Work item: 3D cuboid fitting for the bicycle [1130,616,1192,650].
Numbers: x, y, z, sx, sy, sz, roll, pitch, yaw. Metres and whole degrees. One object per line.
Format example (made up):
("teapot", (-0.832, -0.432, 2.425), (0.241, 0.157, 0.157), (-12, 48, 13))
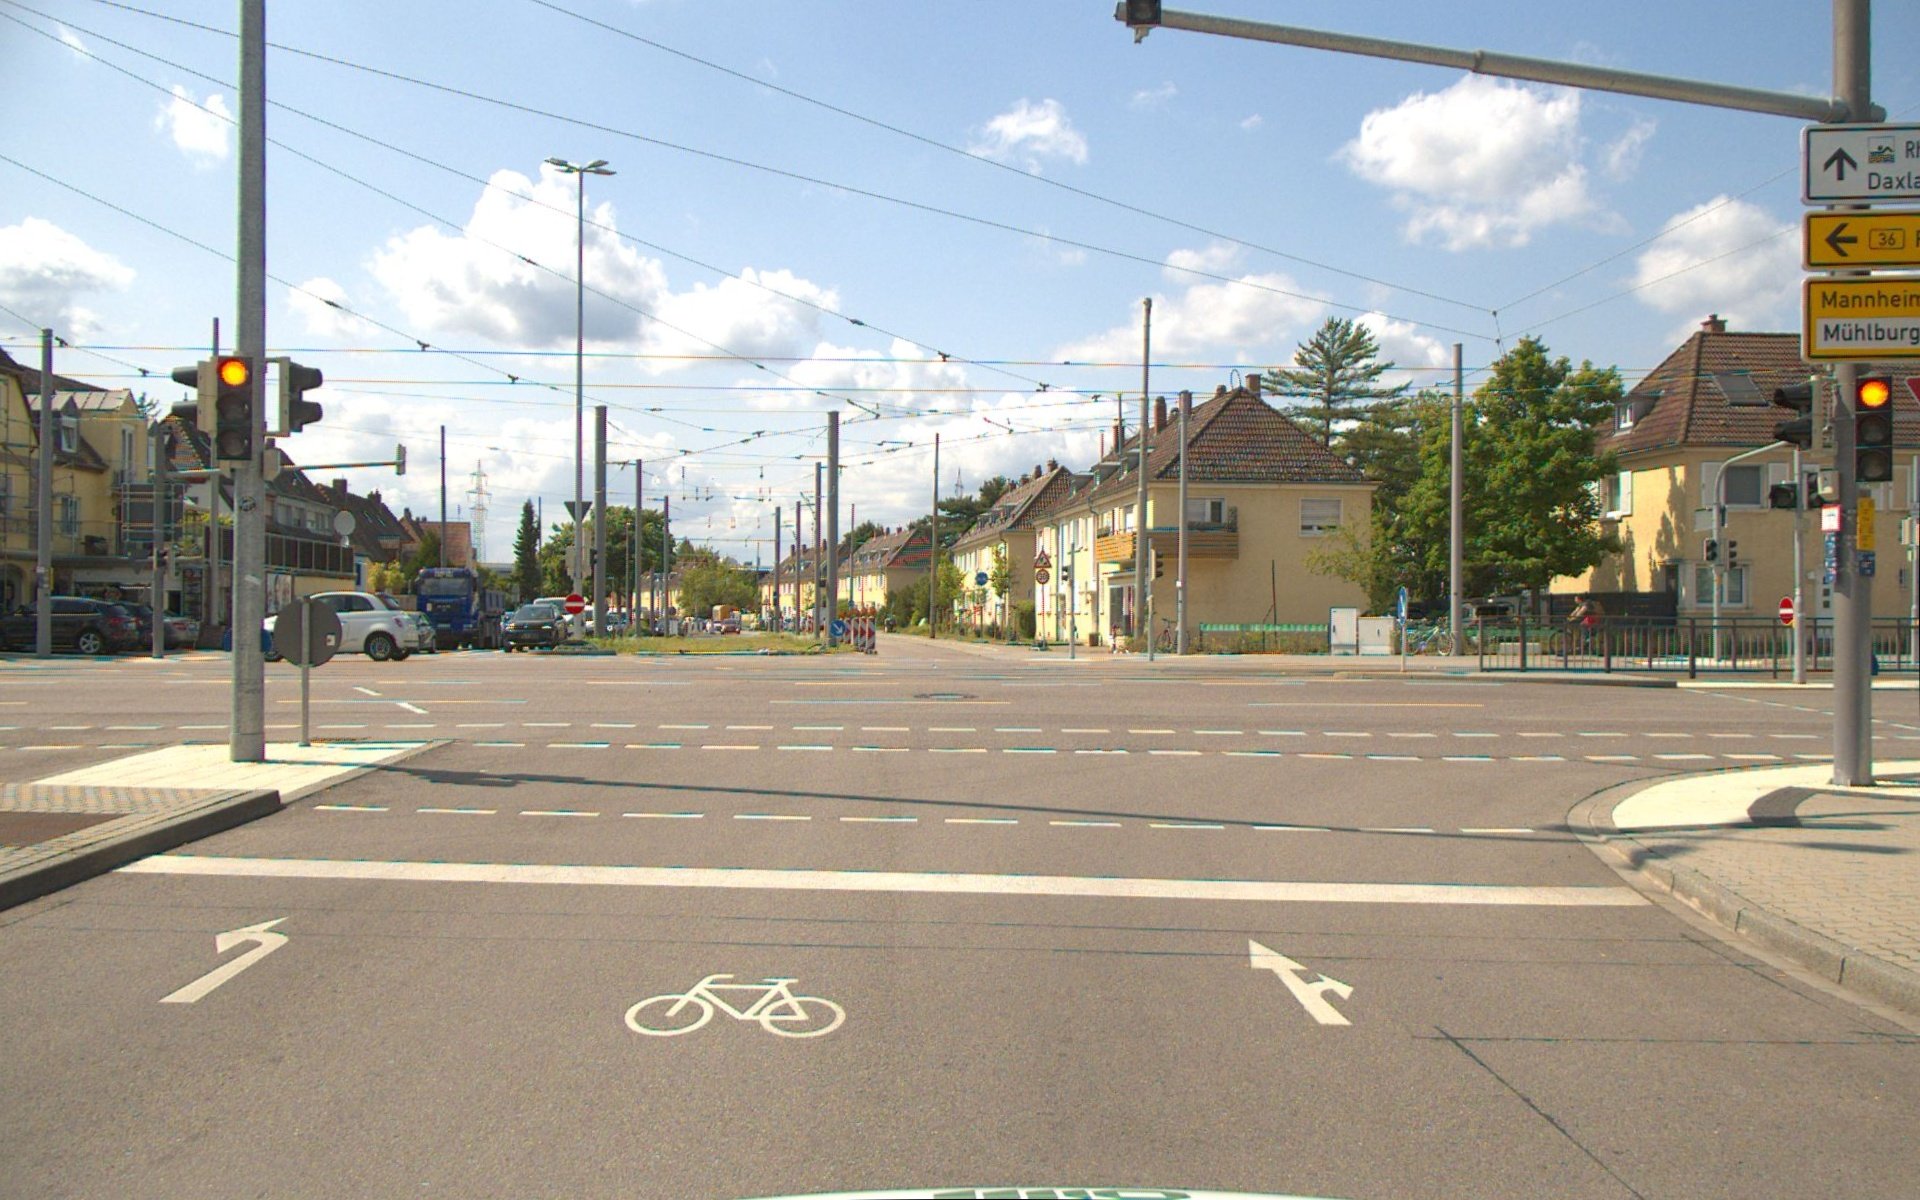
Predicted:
("bicycle", (6.766, 1.118, 55.791), (0.590, 1.116, 2.242), (1, -1, -41))

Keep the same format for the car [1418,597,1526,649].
("car", (17.056, 0.788, 55.288), (1.789, 1.649, 3.990), (0, -2, -10))

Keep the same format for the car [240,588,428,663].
("car", (-13.525, 0.542, 35.880), (3.472, 1.534, 1.583), (1, 0, -6))

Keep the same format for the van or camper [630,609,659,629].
("van or camper", (-46.688, 2.799, 244.685), (2.658, 2.749, 6.466), (0, 0, -25))

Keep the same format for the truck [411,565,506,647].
("truck", (-20.926, 0.300, 69.360), (2.717, 3.244, 7.567), (0, -1, -9))

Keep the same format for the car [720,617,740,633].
("car", (-22.489, 2.449, 161.790), (1.808, 1.520, 4.848), (0, -1, -7))

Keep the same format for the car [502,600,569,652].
("car", (-15.173, 0.896, 59.321), (1.752, 1.751, 4.434), (0, 0, -7))

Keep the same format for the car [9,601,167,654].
("car", (-27.299, 0.855, 51.877), (4.058, 1.519, 1.504), (2, -1, -9))

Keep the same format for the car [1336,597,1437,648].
("car", (14.294, 0.788, 55.610), (1.789, 1.649, 3.990), (0, -2, -10))

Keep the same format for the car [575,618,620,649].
("car", (-17.627, 1.604, 80.509), (1.879, 1.444, 3.992), (0, -1, -9))

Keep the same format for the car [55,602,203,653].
("car", (-27.372, 0.901, 54.587), (4.058, 1.519, 1.432), (2, -1, -9))

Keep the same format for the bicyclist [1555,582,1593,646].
("bicyclist", (17.499, 0.403, 47.128), (0.938, 1.806, 0.719), (-1, -1, 27))

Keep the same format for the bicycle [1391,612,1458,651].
("bicycle", (13.687, 0.911, 48.739), (1.773, 1.124, 0.699), (0, -1, 39))

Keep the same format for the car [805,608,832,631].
("car", (-13.454, 1.868, 157.050), (2.028, 2.187, 4.866), (0, -1, -10))

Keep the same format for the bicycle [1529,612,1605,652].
("bicycle", (17.311, 0.920, 47.175), (1.987, 1.121, 0.714), (-1, -1, 27))

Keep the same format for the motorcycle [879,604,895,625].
("motorcycle", (-5.850, 1.190, 131.912), (1.046, 1.664, 2.079), (0, -1, -9))

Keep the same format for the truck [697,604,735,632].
("truck", (-32.030, 2.336, 217.015), (2.606, 3.555, 9.366), (0, -1, -24))

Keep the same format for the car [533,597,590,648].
("car", (-15.792, 0.895, 65.728), (1.780, 1.955, 4.738), (0, -1, -9))

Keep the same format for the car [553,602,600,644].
("car", (-17.020, 1.032, 73.578), (1.700, 1.813, 4.396), (0, -1, -9))

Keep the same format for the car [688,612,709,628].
("car", (-34.280, 2.611, 216.928), (1.966, 1.944, 3.973), (0, 0, -22))

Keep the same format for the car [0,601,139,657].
("car", (-26.818, 0.855, 49.208), (4.058, 1.519, 1.177), (2, -1, -9))
